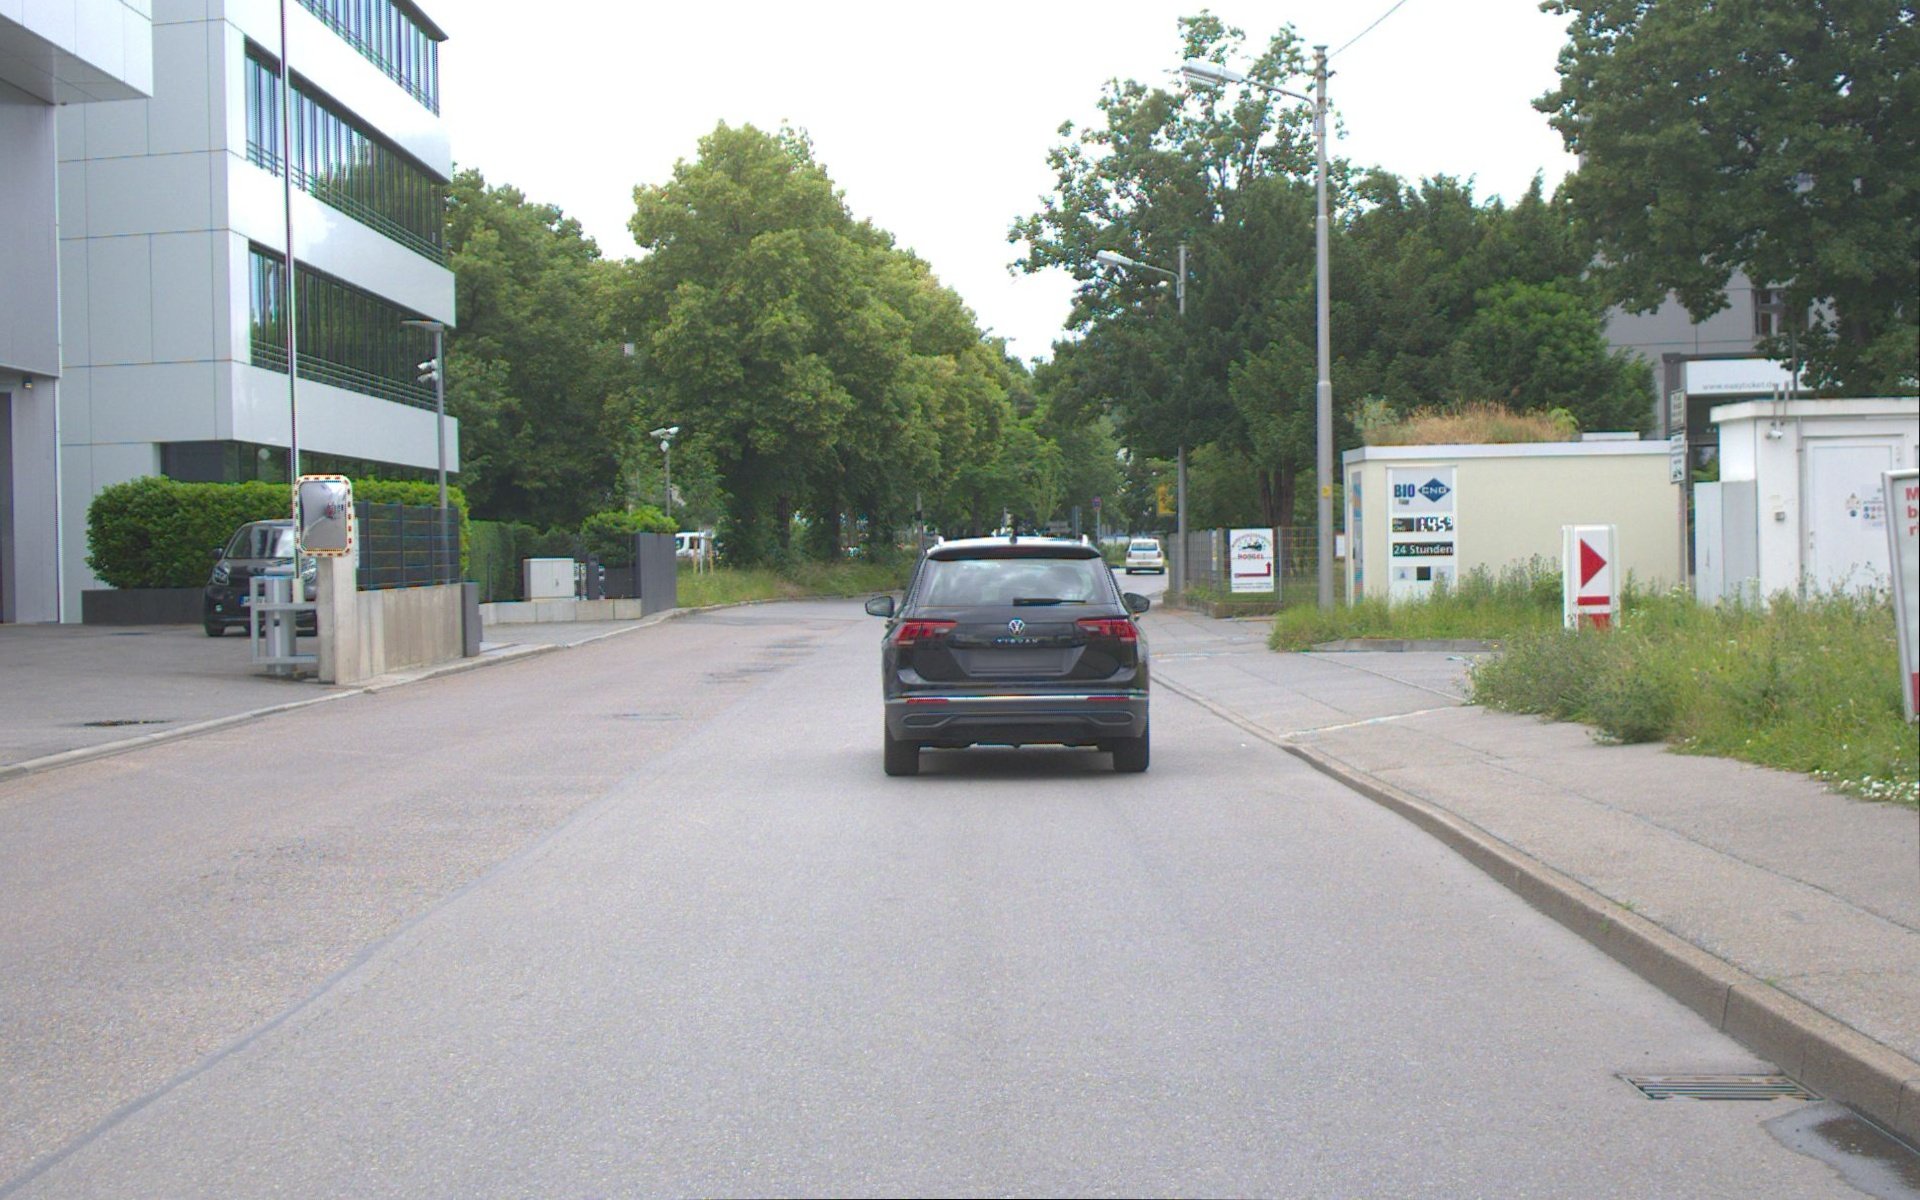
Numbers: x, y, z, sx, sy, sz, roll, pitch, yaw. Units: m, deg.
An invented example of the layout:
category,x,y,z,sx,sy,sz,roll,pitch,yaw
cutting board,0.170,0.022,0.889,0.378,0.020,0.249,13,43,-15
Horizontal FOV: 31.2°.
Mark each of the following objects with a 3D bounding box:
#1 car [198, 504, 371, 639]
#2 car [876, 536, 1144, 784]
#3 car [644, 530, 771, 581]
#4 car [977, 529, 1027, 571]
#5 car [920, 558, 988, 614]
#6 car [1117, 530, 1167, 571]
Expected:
category,x,y,z,sx,sy,sz,roll,pitch,yaw
car,-9.142,-0.398,46.741,1.650,1.756,3.179,0,1,1
car,0.393,0.376,24.217,1.739,1.612,3.641,0,0,2
car,-12.627,-2.225,172.124,6.071,2.379,2.394,-1,1,3
car,1.805,-2.140,146.801,1.808,1.758,4.205,0,1,5
car,-0.153,-0.432,104.929,1.839,1.611,4.000,-1,1,3
car,7.942,-2.144,149.689,1.994,1.780,3.999,0,1,6
